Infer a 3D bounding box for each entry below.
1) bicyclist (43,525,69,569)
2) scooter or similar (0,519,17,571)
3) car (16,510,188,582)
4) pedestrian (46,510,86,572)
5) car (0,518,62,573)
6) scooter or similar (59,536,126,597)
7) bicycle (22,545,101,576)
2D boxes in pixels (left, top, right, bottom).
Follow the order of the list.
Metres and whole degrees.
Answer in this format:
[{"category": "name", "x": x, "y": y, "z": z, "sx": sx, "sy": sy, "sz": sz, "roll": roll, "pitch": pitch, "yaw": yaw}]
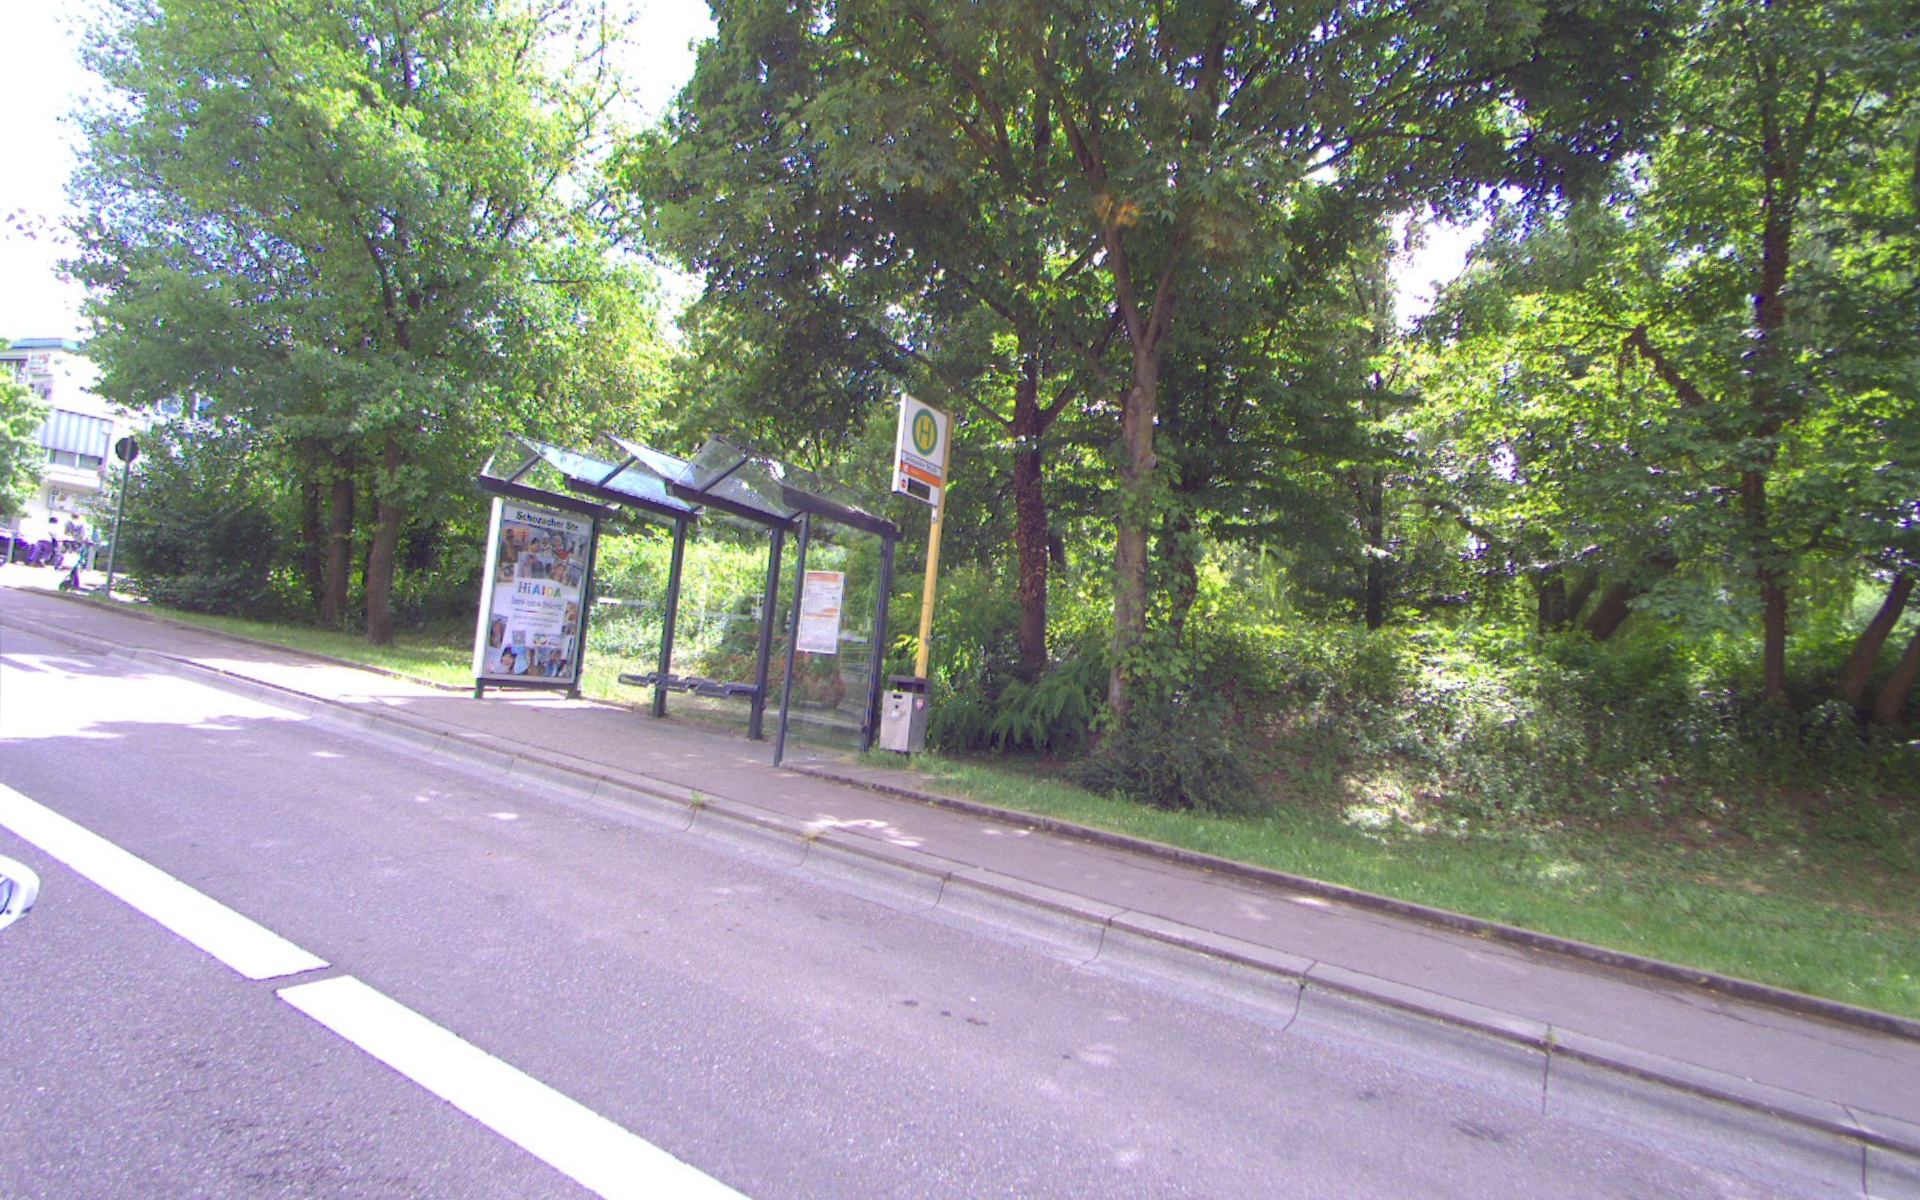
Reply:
[{"category": "bicyclist", "x": -25.592, "y": -1.500, "z": 28.478, "sx": 0.496, "sy": 1.170, "sz": 0.398, "roll": 6, "pitch": -1, "yaw": 42}, {"category": "scooter or similar", "x": -24.945, "y": -1.481, "z": 25.611, "sx": 0.546, "sy": 1.286, "sz": 1.153, "roll": 6, "pitch": -3, "yaw": 34}, {"category": "car", "x": -33.252, "y": -2.038, "z": 39.160, "sx": 1.964, "sy": 2.037, "sz": 4.550, "roll": 6, "pitch": -2, "yaw": 24}, {"category": "pedestrian", "x": -26.547, "y": -1.741, "z": 29.889, "sx": 0.653, "sy": 1.733, "sz": 0.458, "roll": 8, "pitch": -1, "yaw": -32}, {"category": "car", "x": -30.476, "y": -1.885, "z": 30.766, "sx": 1.814, "sy": 1.503, "sz": 4.001, "roll": 6, "pitch": -2, "yaw": 24}, {"category": "scooter or similar", "x": -20.194, "y": -0.775, "z": 23.441, "sx": 0.447, "sy": 1.242, "sz": 0.893, "roll": 6, "pitch": -6, "yaw": 32}, {"category": "bicycle", "x": -25.528, "y": -1.116, "z": 28.596, "sx": 0.527, "sy": 0.616, "sz": 1.584, "roll": 6, "pitch": -3, "yaw": 43}]
